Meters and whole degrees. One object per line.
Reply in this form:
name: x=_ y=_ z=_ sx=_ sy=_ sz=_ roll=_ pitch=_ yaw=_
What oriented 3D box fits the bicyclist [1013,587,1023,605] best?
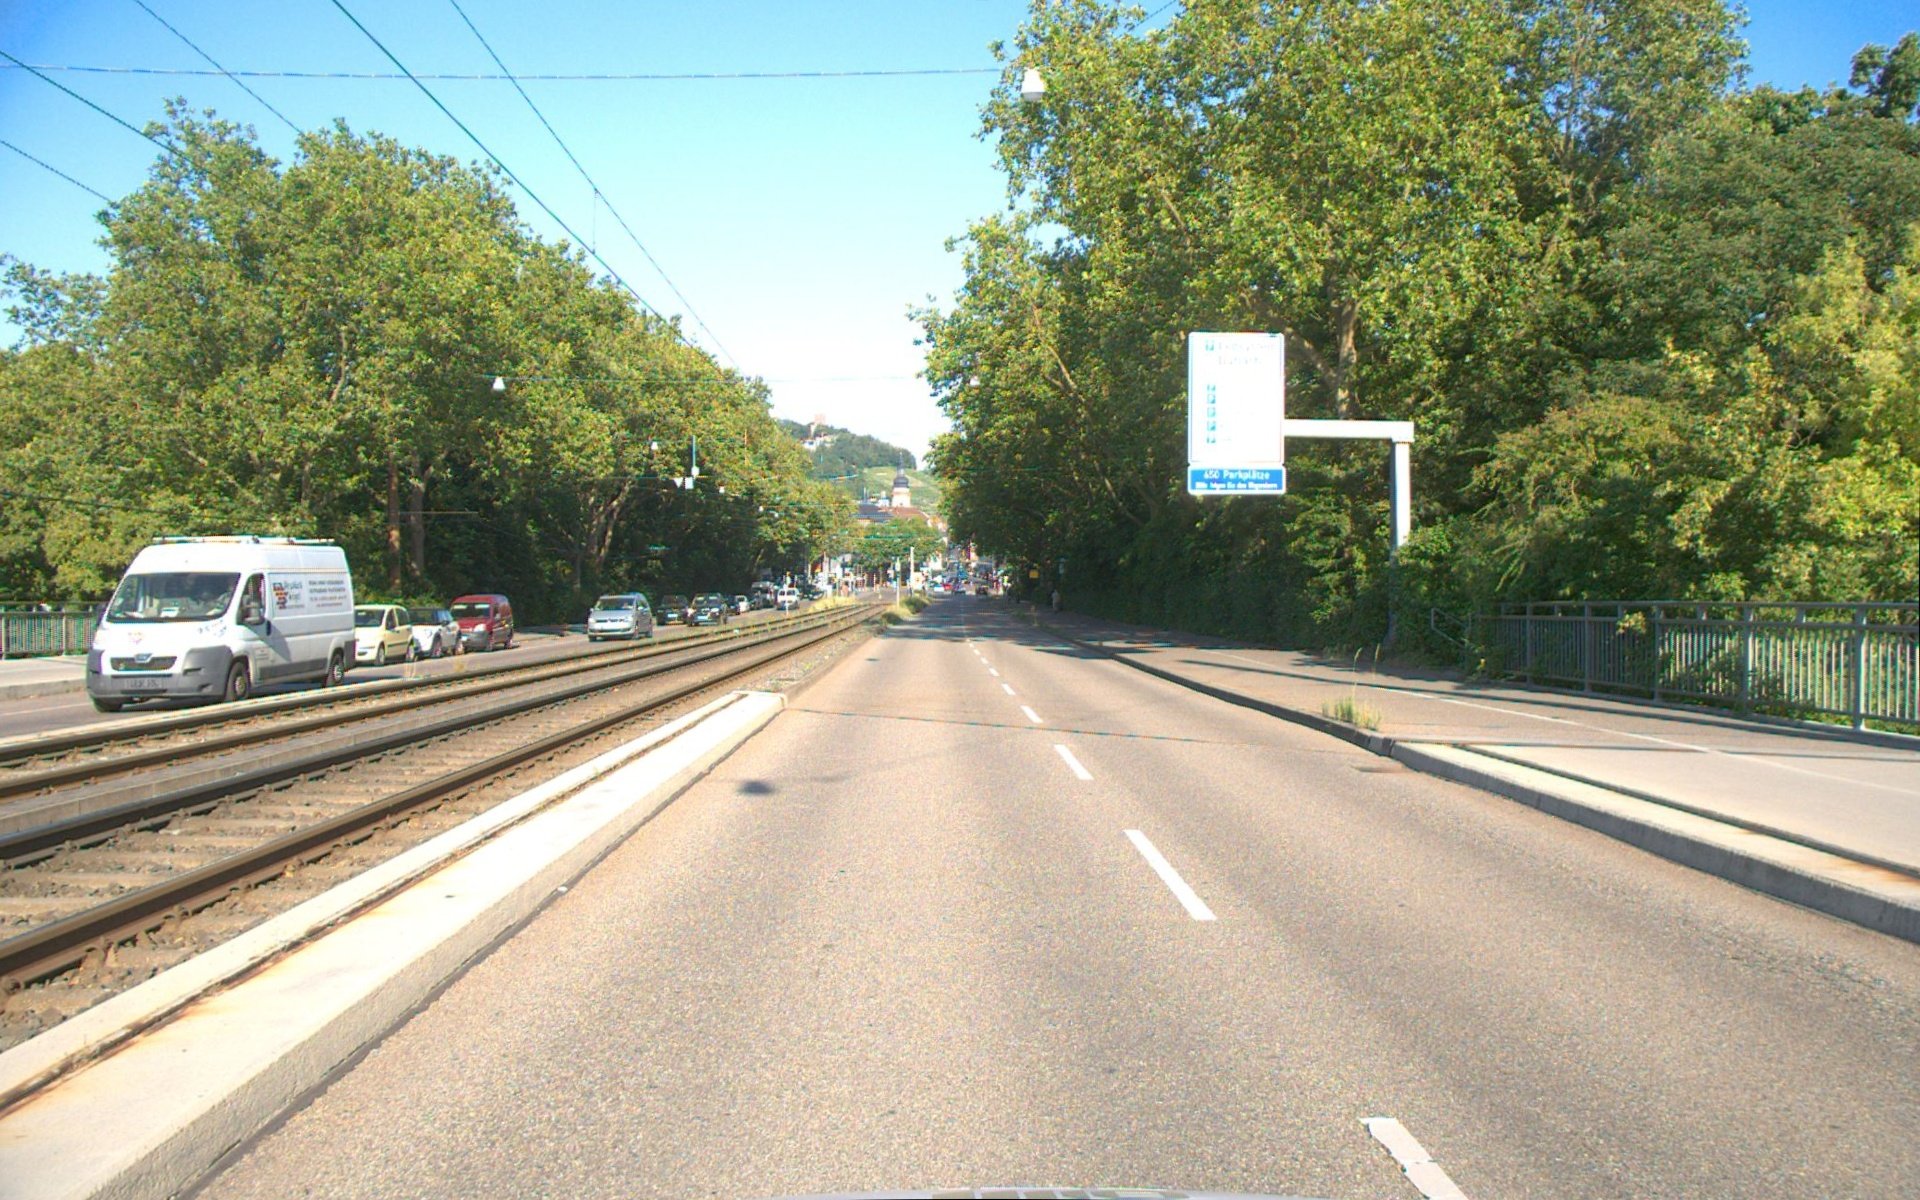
bicyclist: x=5.653 y=-0.379 z=161.211 sx=0.869 sy=1.667 sz=1.164 roll=-1 pitch=0 yaw=-1

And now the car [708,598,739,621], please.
car: x=-18.446 y=0.737 z=129.197 sx=1.953 sy=1.726 sz=4.742 roll=-1 pitch=0 yaw=-2

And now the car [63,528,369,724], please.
car: x=-11.390 y=0.327 z=25.944 sx=2.044 sy=2.638 sz=6.040 roll=2 pitch=1 yaw=-1

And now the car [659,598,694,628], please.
car: x=-16.480 y=0.724 z=96.365 sx=1.708 sy=1.665 sz=3.995 roll=-1 pitch=1 yaw=-6

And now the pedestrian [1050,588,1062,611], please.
pedestrian: x=6.616 y=-0.057 z=114.407 sx=0.787 sy=1.573 sz=0.814 roll=-1 pitch=0 yaw=3

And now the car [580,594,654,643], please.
car: x=-12.737 y=0.658 z=61.707 sx=1.835 sy=1.694 sz=4.596 roll=1 pitch=1 yaw=-1

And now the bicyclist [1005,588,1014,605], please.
bicyclist: x=5.269 y=-0.413 z=175.832 sx=0.869 sy=1.805 sz=1.221 roll=-1 pitch=0 yaw=-3

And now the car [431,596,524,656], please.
car: x=-15.417 y=0.784 z=53.073 sx=1.706 sy=1.784 sz=4.683 roll=0 pitch=1 yaw=-2

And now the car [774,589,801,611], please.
car: x=-15.557 y=0.005 z=148.972 sx=1.954 sy=1.876 sz=5.300 roll=-3 pitch=1 yaw=-2

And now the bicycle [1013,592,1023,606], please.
bicycle: x=5.650 y=-0.129 z=161.113 sx=0.869 sy=1.344 sz=2.639 roll=-1 pitch=0 yaw=-1

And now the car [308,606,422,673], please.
car: x=-15.147 y=0.973 z=42.320 sx=1.600 sy=1.558 sz=3.789 roll=0 pitch=1 yaw=-1

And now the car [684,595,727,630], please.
car: x=-13.335 y=0.648 z=86.840 sx=1.707 sy=1.651 sz=4.392 roll=-3 pitch=1 yaw=-3

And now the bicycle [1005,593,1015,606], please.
bicycle: x=5.272 y=-0.048 z=175.669 sx=0.869 sy=1.344 sz=2.638 roll=-1 pitch=0 yaw=-2

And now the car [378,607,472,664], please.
car: x=-15.376 y=0.987 z=47.694 sx=1.601 sy=1.476 sz=4.000 roll=0 pitch=1 yaw=-3

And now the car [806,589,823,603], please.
car: x=-18.765 y=-0.522 z=213.515 sx=1.953 sy=1.726 sz=4.742 roll=-1 pitch=0 yaw=-2
